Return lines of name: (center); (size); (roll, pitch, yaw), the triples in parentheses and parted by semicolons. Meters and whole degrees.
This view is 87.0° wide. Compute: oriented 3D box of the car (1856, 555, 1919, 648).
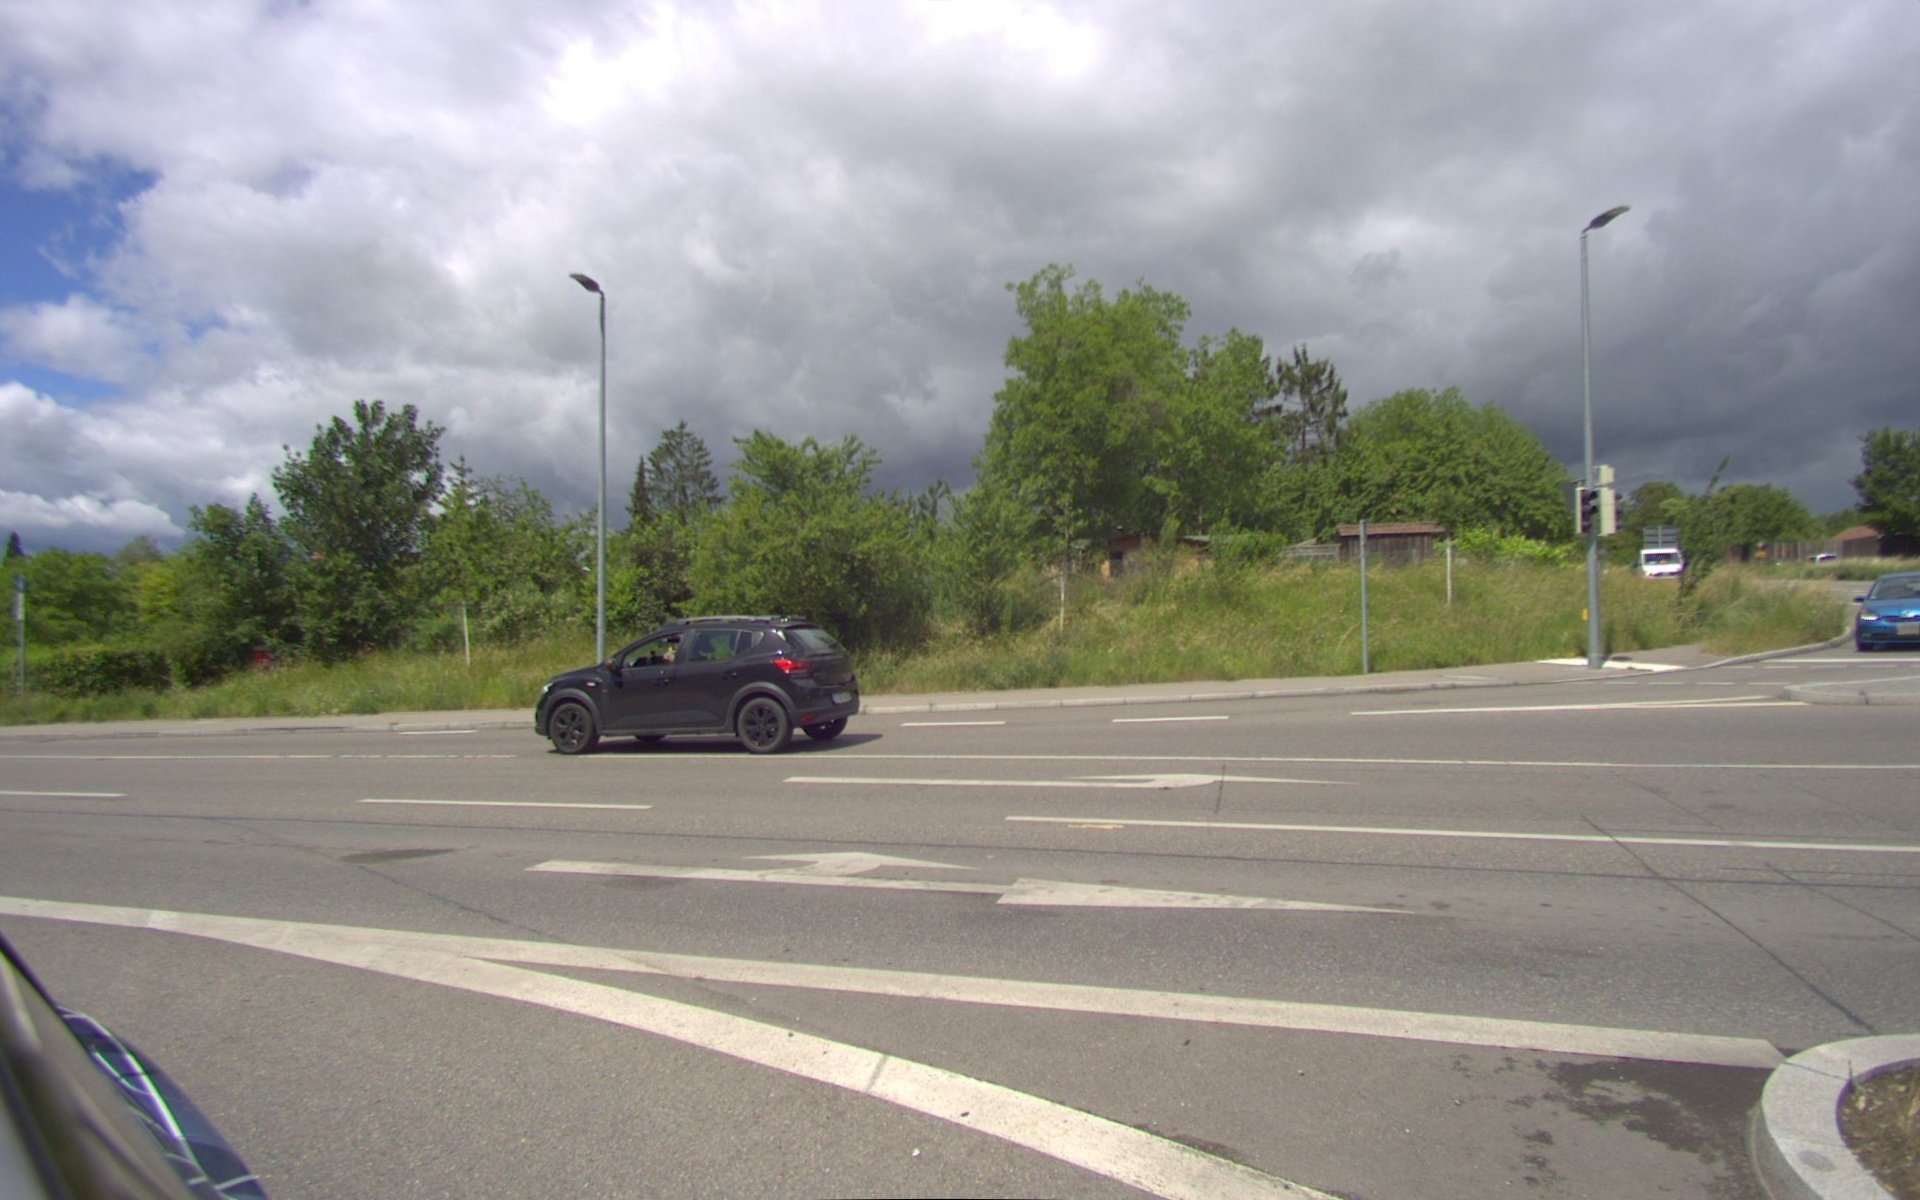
car: (18.983, -0.052, 19.672); (4.381, 1.649, 1.913); (-3, 1, -43)

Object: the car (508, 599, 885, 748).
car: (-3.173, 0.875, 12.327); (4.129, 1.590, 1.780); (-2, -2, 18)

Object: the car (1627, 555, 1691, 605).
car: (39.884, -1.130, 57.889); (2.154, 2.670, 5.773); (-2, 0, 27)
